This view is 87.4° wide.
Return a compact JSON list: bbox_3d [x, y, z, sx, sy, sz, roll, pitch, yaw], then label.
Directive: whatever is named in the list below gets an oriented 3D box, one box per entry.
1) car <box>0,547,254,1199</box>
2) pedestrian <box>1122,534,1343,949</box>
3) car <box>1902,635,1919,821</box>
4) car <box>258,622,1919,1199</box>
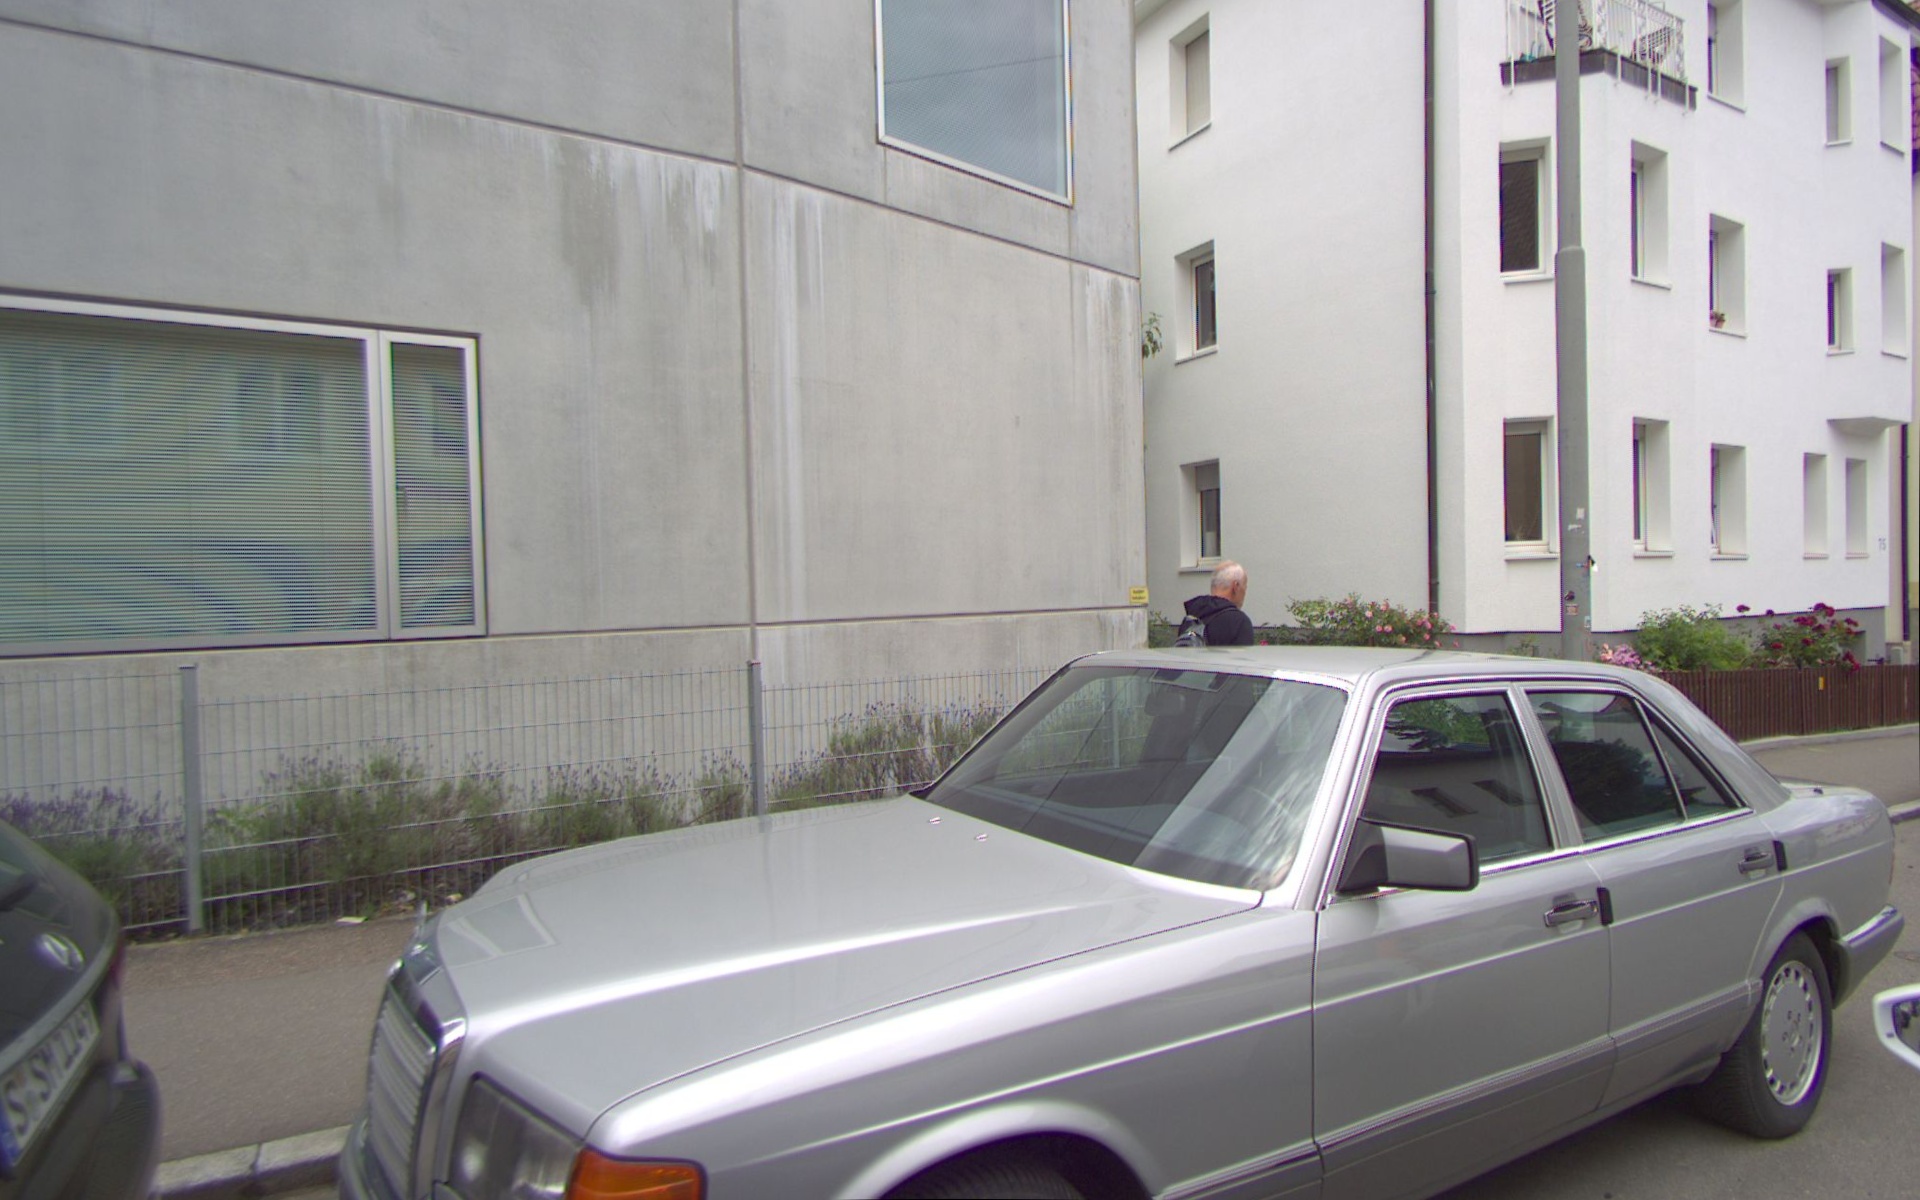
[{"bbox_3d":[-3.189,0.670,0.508,4.418,1.547,1.887,2,-2,-30],"label":"car"},{"bbox_3d":[1.340,0.662,5.091,0.831,1.909,0.818,0,-1,-7],"label":"pedestrian"},{"bbox_3d":[9.954,1.047,8.404,4.452,1.476,1.836,2,-2,-30],"label":"car"},{"bbox_3d":[1.012,0.823,3.054,5.002,1.431,1.836,2,-1,-30],"label":"car"}]
